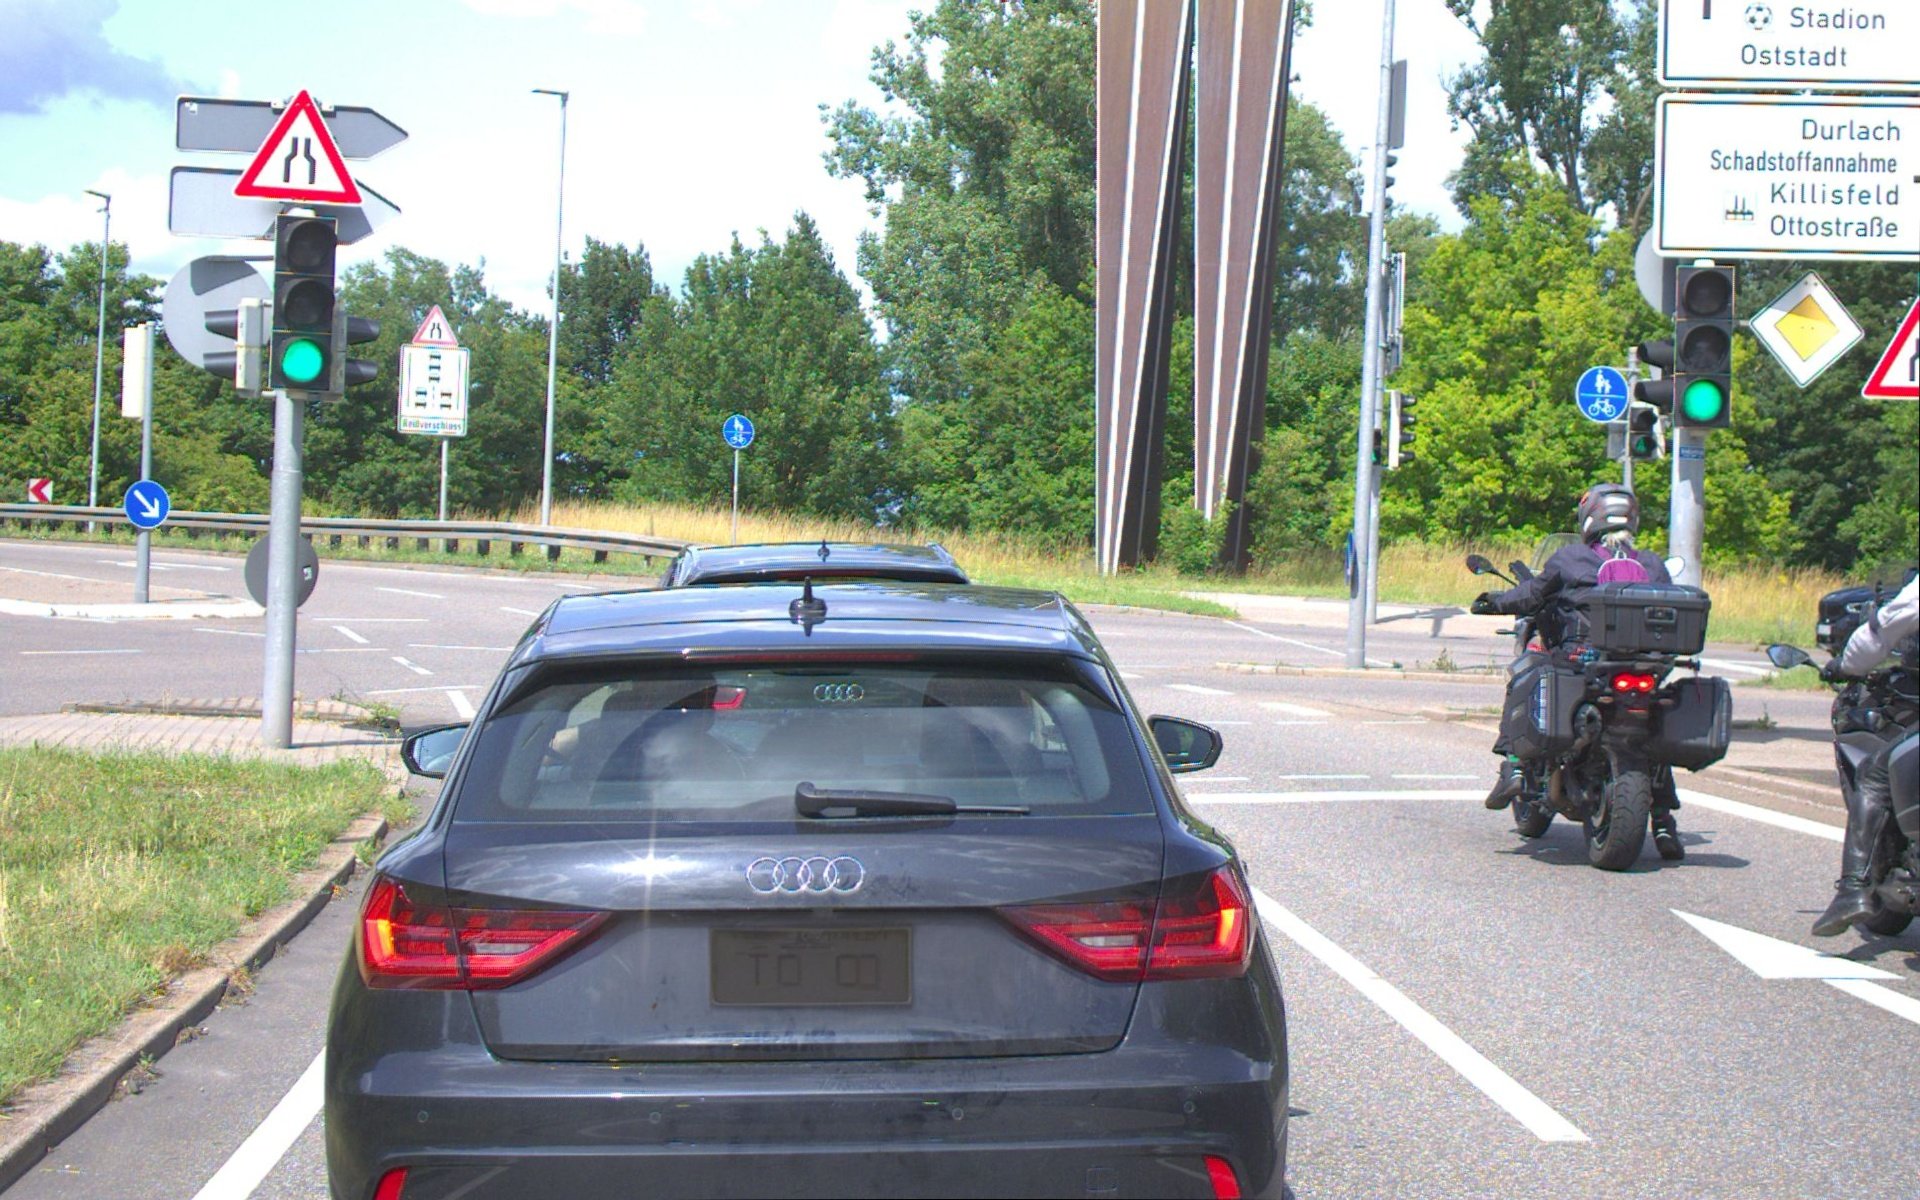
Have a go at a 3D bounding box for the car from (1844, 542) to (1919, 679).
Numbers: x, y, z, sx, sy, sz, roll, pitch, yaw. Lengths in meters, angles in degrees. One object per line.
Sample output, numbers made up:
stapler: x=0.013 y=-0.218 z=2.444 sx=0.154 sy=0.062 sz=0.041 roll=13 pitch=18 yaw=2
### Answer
car: x=12.646 y=0.163 z=39.891 sx=4.268 sy=1.539 sz=1.737 roll=2 pitch=1 yaw=-1

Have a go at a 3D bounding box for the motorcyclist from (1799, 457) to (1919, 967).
motorcyclist: x=3.477 y=0.371 z=11.894 sx=0.865 sy=1.694 sz=0.894 roll=2 pitch=1 yaw=-1

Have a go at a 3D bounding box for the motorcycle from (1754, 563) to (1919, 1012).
motorcycle: x=3.474 y=0.596 z=11.836 sx=0.865 sy=1.384 sz=2.370 roll=2 pitch=1 yaw=-1

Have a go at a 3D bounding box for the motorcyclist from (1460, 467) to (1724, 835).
motorcyclist: x=2.836 y=0.212 z=15.533 sx=0.936 sy=1.585 sz=1.083 roll=1 pitch=1 yaw=-1

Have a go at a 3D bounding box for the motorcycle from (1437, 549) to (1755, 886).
motorcycle: x=2.827 y=0.475 z=15.583 sx=0.936 sy=1.378 sz=2.370 roll=1 pitch=1 yaw=-1

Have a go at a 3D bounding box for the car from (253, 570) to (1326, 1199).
car: x=-0.296 y=0.667 z=7.549 sx=1.726 sy=1.399 sz=4.000 roll=0 pitch=1 yaw=-1

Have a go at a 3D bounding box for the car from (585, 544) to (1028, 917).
car: x=-0.753 y=0.475 z=15.348 sx=1.726 sy=1.418 sz=3.845 roll=0 pitch=1 yaw=-5

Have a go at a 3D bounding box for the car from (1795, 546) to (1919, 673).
car: x=13.290 y=0.166 z=43.745 sx=4.847 sy=1.539 sz=1.737 roll=2 pitch=1 yaw=-1
